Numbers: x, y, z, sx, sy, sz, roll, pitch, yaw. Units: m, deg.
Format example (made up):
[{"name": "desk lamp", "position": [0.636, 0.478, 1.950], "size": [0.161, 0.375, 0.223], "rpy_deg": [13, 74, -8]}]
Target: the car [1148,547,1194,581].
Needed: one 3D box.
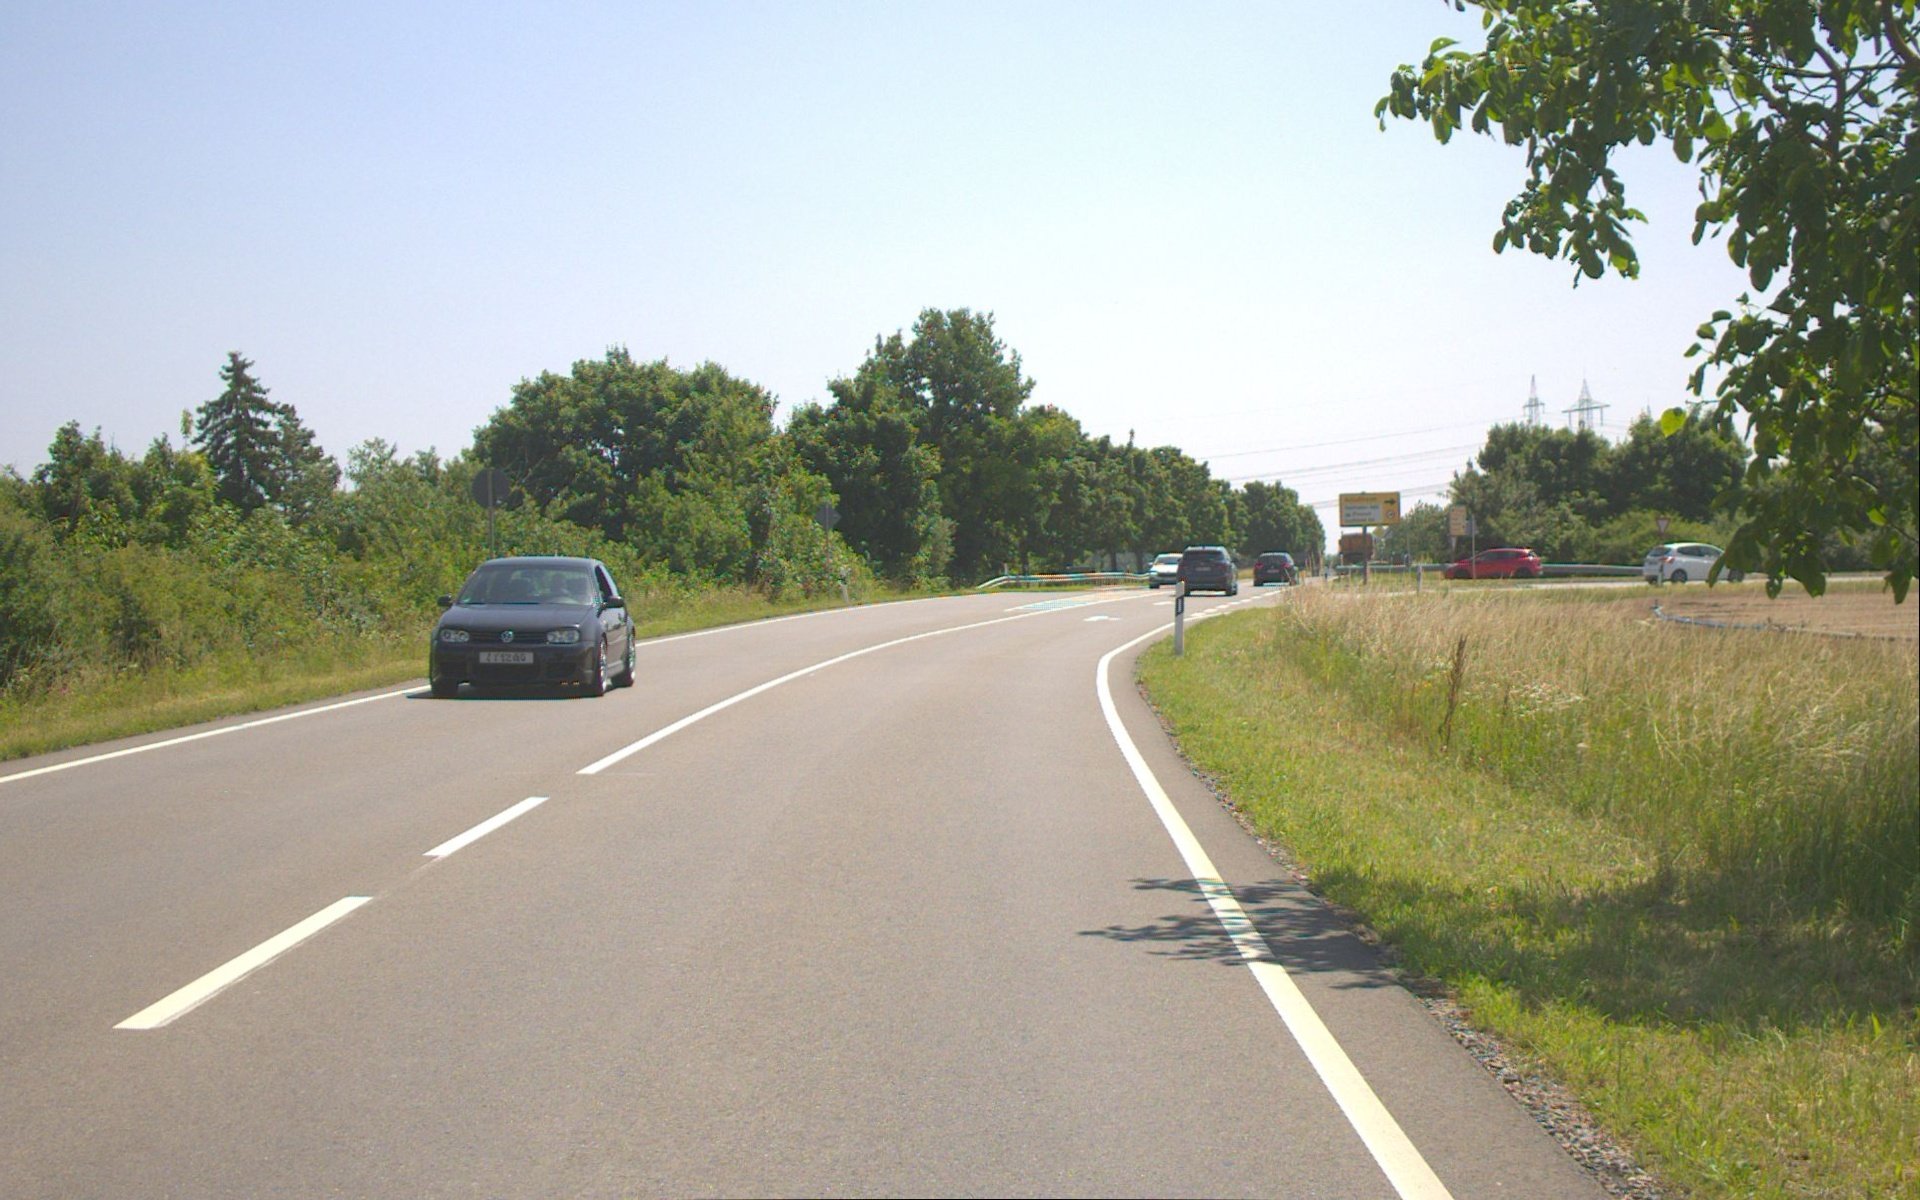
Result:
[{"name": "car", "position": [9.072, -1.543, 147.575], "size": [1.836, 1.414, 4.715], "rpy_deg": [1, 1, 5]}]

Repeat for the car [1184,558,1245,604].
[{"name": "car", "position": [8.670, -0.662, 116.903], "size": [1.885, 1.513, 4.039], "rpy_deg": [1, 1, 7]}]

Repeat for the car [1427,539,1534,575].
[{"name": "car", "position": [21.864, -1.801, 144.372], "size": [4.157, 1.414, 1.777], "rpy_deg": [-1, 0, 22]}]

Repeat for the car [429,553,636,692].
[{"name": "car", "position": [-4.401, 0.199, 35.847], "size": [1.692, 1.358, 3.826], "rpy_deg": [0, 1, 0]}]

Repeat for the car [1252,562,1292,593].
[{"name": "car", "position": [13.844, -1.004, 152.238], "size": [1.644, 1.336, 4.039], "rpy_deg": [1, 1, 7]}]

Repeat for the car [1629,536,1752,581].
[{"name": "car", "position": [27.797, -1.579, 130.815], "size": [4.128, 1.618, 2.071], "rpy_deg": [-2, 1, -26]}]
